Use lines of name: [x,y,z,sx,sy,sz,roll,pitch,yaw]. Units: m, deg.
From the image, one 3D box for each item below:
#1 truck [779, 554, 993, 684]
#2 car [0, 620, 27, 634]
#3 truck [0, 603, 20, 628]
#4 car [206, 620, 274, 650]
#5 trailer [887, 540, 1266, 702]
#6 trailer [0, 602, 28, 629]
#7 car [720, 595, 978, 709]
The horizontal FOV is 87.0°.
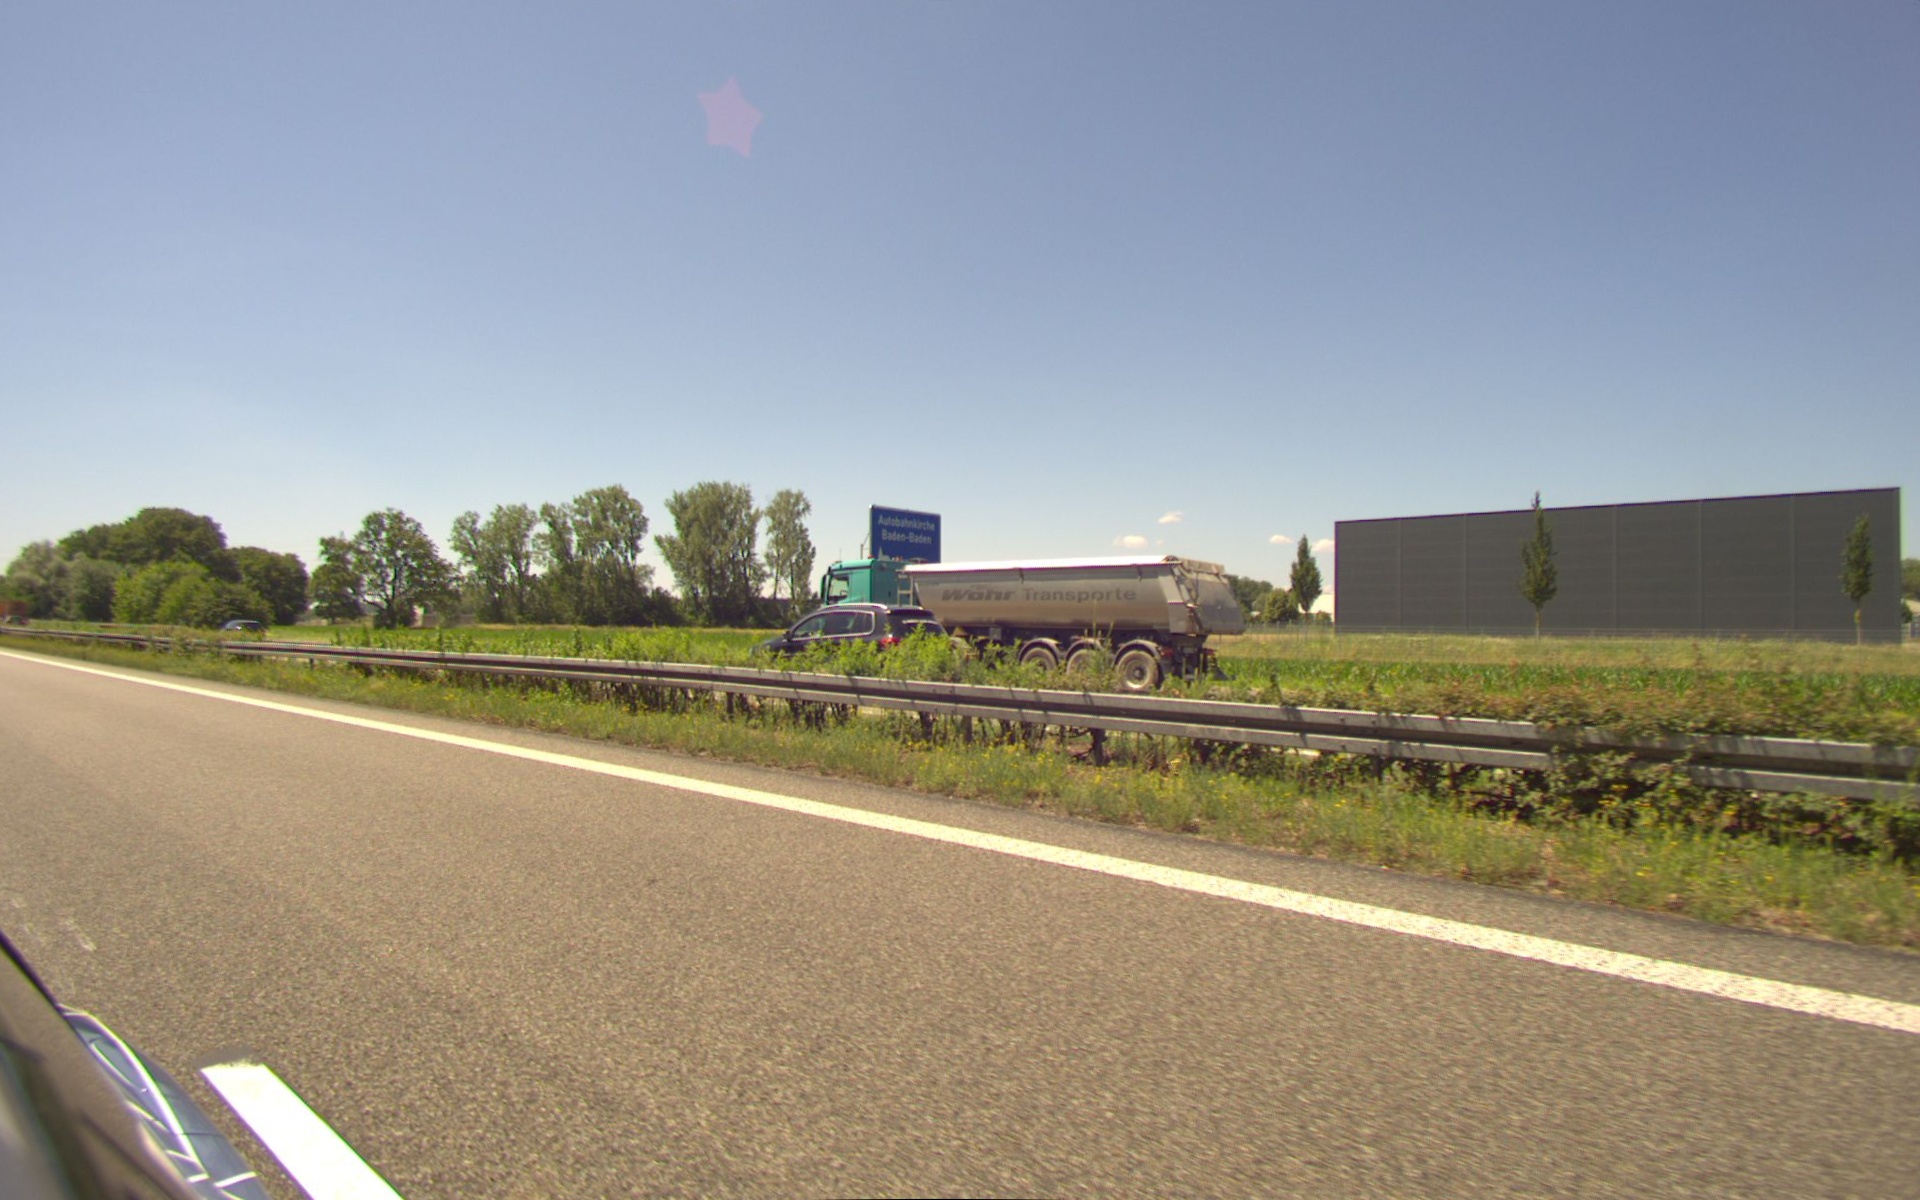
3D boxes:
truck: [-2.175,0.519,28.452,5.835,3.275,2.669,-1,-2,41]
car: [-116.885,3.368,124.935,5.550,1.693,1.972,-1,-2,42]
truck: [-153.017,2.492,161.836,10.821,3.914,2.621,-1,-4,41]
car: [-42.223,2.027,59.282,5.661,1.652,1.972,-1,-2,41]
trailer: [2.432,0.467,24.438,9.254,3.262,2.647,-1,-1,41]
trailer: [-145.668,2.374,155.463,8.656,3.950,2.631,-1,-4,41]
car: [-2.073,0.862,17.946,4.719,1.756,1.850,-1,-2,41]
